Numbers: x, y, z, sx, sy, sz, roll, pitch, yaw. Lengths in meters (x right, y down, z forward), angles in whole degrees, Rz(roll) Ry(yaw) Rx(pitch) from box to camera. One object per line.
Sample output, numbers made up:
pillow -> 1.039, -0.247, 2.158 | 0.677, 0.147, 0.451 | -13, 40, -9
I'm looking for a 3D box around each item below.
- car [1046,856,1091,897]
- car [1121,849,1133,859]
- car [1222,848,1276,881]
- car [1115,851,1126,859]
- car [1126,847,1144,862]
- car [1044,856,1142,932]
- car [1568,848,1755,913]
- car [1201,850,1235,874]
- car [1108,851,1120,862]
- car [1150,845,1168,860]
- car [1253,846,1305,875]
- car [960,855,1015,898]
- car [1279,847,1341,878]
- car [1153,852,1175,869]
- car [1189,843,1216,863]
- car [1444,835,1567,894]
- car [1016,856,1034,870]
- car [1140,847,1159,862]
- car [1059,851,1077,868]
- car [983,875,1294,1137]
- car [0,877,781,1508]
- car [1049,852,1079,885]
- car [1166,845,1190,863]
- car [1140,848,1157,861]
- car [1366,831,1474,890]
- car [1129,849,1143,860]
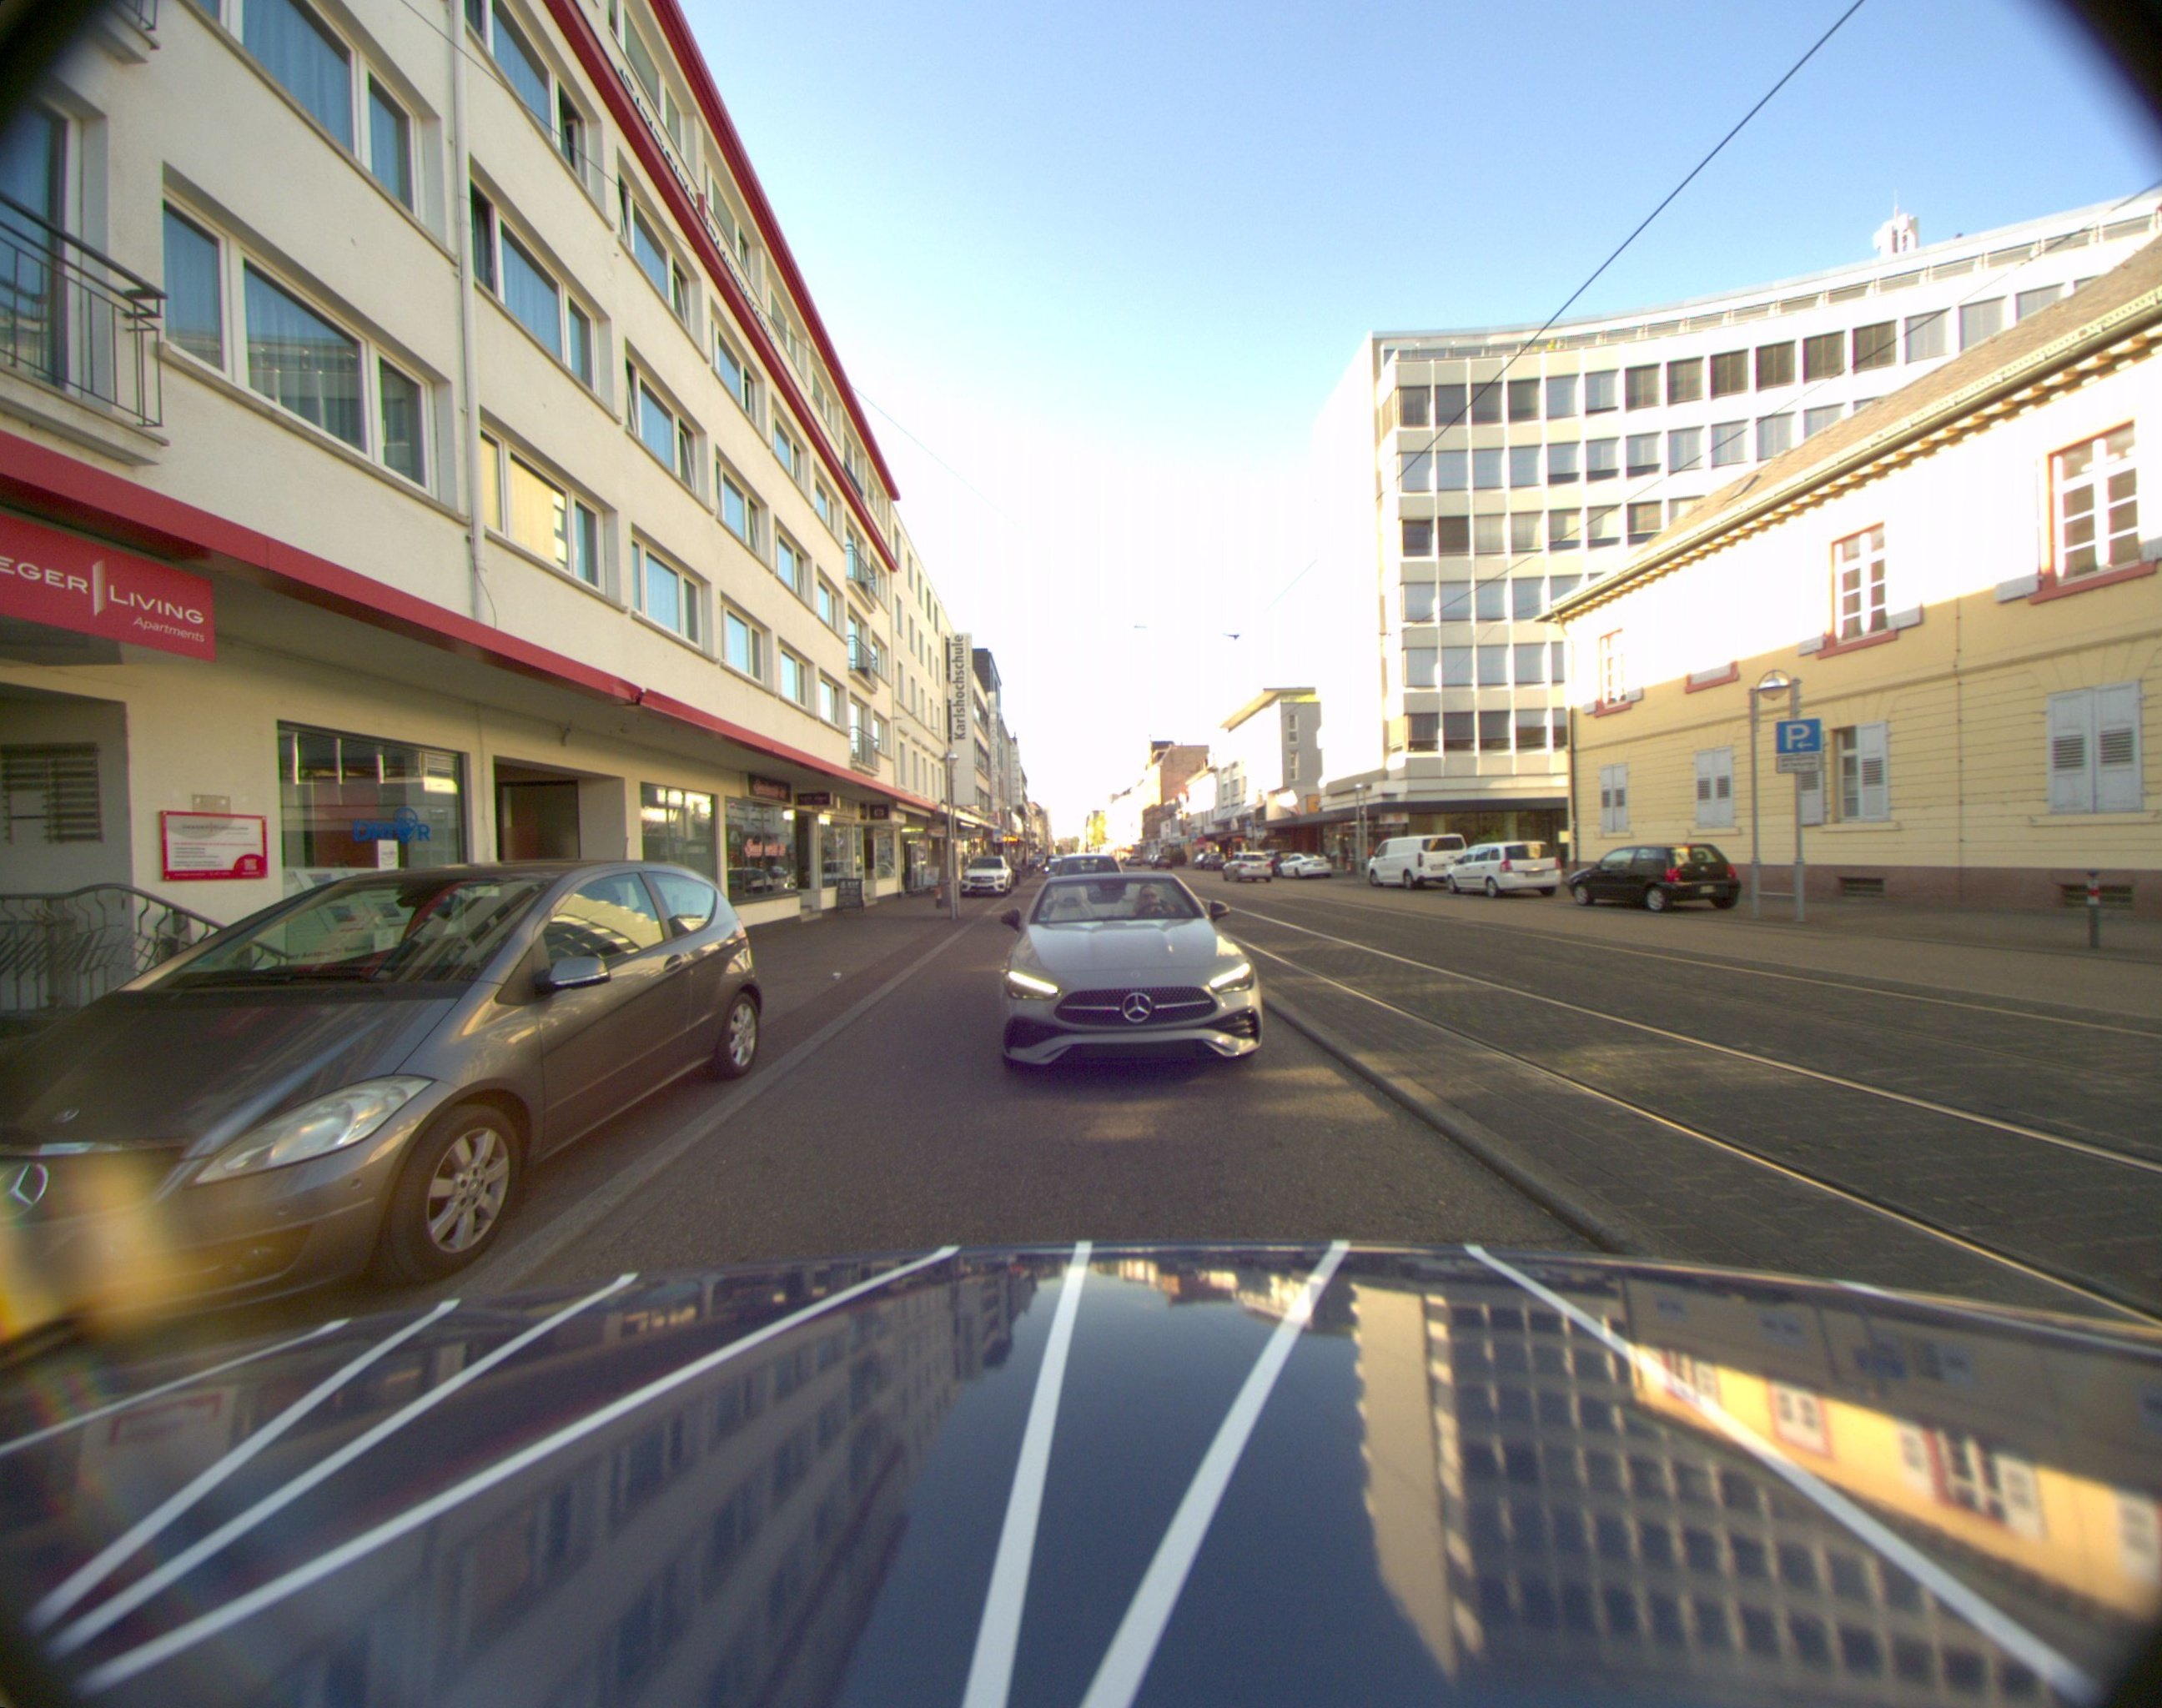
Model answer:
car -> -0.542, 0.856, 30.845 | 1.648, 1.506, 3.844 | -2, 0, -2
car -> 9.561, -0.001, 157.320 | 1.999, 2.002, 3.999 | -1, 0, -2
car -> 8.689, 0.521, 39.702 | 1.760, 1.587, 3.999 | -1, 0, -2
car -> 9.120, 0.204, 176.570 | 2.148, 1.850, 3.998 | -2, 1, -2
car -> 7.226, 0.023, 102.578 | 1.914, 1.883, 3.855 | -2, 1, -2
car -> 0.160, 0.850, 18.115 | 1.927, 1.533, 3.998 | -2, 0, -4
car -> 12.816, 0.521, 17.034 | 1.688, 1.246, 3.212 | -2, 1, -1
car -> 11.842, 0.664, 65.746 | 1.999, 1.849, 3.998 | -2, 1, -2
car -> 6.564, 0.485, 150.745 | 1.999, 2.002, 3.998 | -2, 1, -2
car -> 11.380, -0.240, 111.466 | 1.999, 2.002, 3.998 | -2, 1, -2
car -> 12.333, 0.365, 47.684 | 1.999, 1.694, 4.107 | -3, 1, -2
car -> -3.845, 0.892, 31.720 | 1.999, 1.620, 3.998 | -1, 0, -4
car -> 12.641, 0.423, 42.255 | 1.999, 1.521, 4.373 | -2, 1, -1
car -> 8.281, 0.608, 75.979 | 1.964, 1.499, 4.000 | -2, 1, 4
car -> 11.802, -0.113, 74.142 | 1.789, 1.870, 3.999 | -1, 0, -2
car -> 12.770, 0.270, 23.151 | 1.641, 1.600, 4.005 | -2, 1, 3
car -> -6.184, 0.971, 83.600 | 1.714, 1.430, 3.756 | -2, 1, -1
car -> 9.629, -0.005, 106.931 | 1.999, 2.002, 3.998 | -2, 1, -2
car -> -1.572, 0.611, 89.928 | 1.999, 1.793, 3.999 | -2, 1, -1
car -> 0.224, 0.984, 6.678 | 1.884, 1.375, 3.998 | -2, 1, -4
car -> -3.199, 0.972, 3.988 | 1.683, 1.537, 3.999 | -2, 0, -1
car -> -0.951, 0.765, 42.802 | 1.573, 1.670, 3.688 | -2, 1, -1
car -> 11.544, 0.013, 90.432 | 2.200, 2.030, 3.999 | -1, 0, -1
car -> 10.771, 0.049, 122.128 | 1.999, 2.002, 5.320 | -1, 0, -2
car -> 12.683, 0.233, 28.788 | 2.040, 2.002, 4.621 | -1, 0, 1
car -> 9.932, 0.047, 138.256 | 1.999, 2.002, 3.999 | -1, 0, -2
